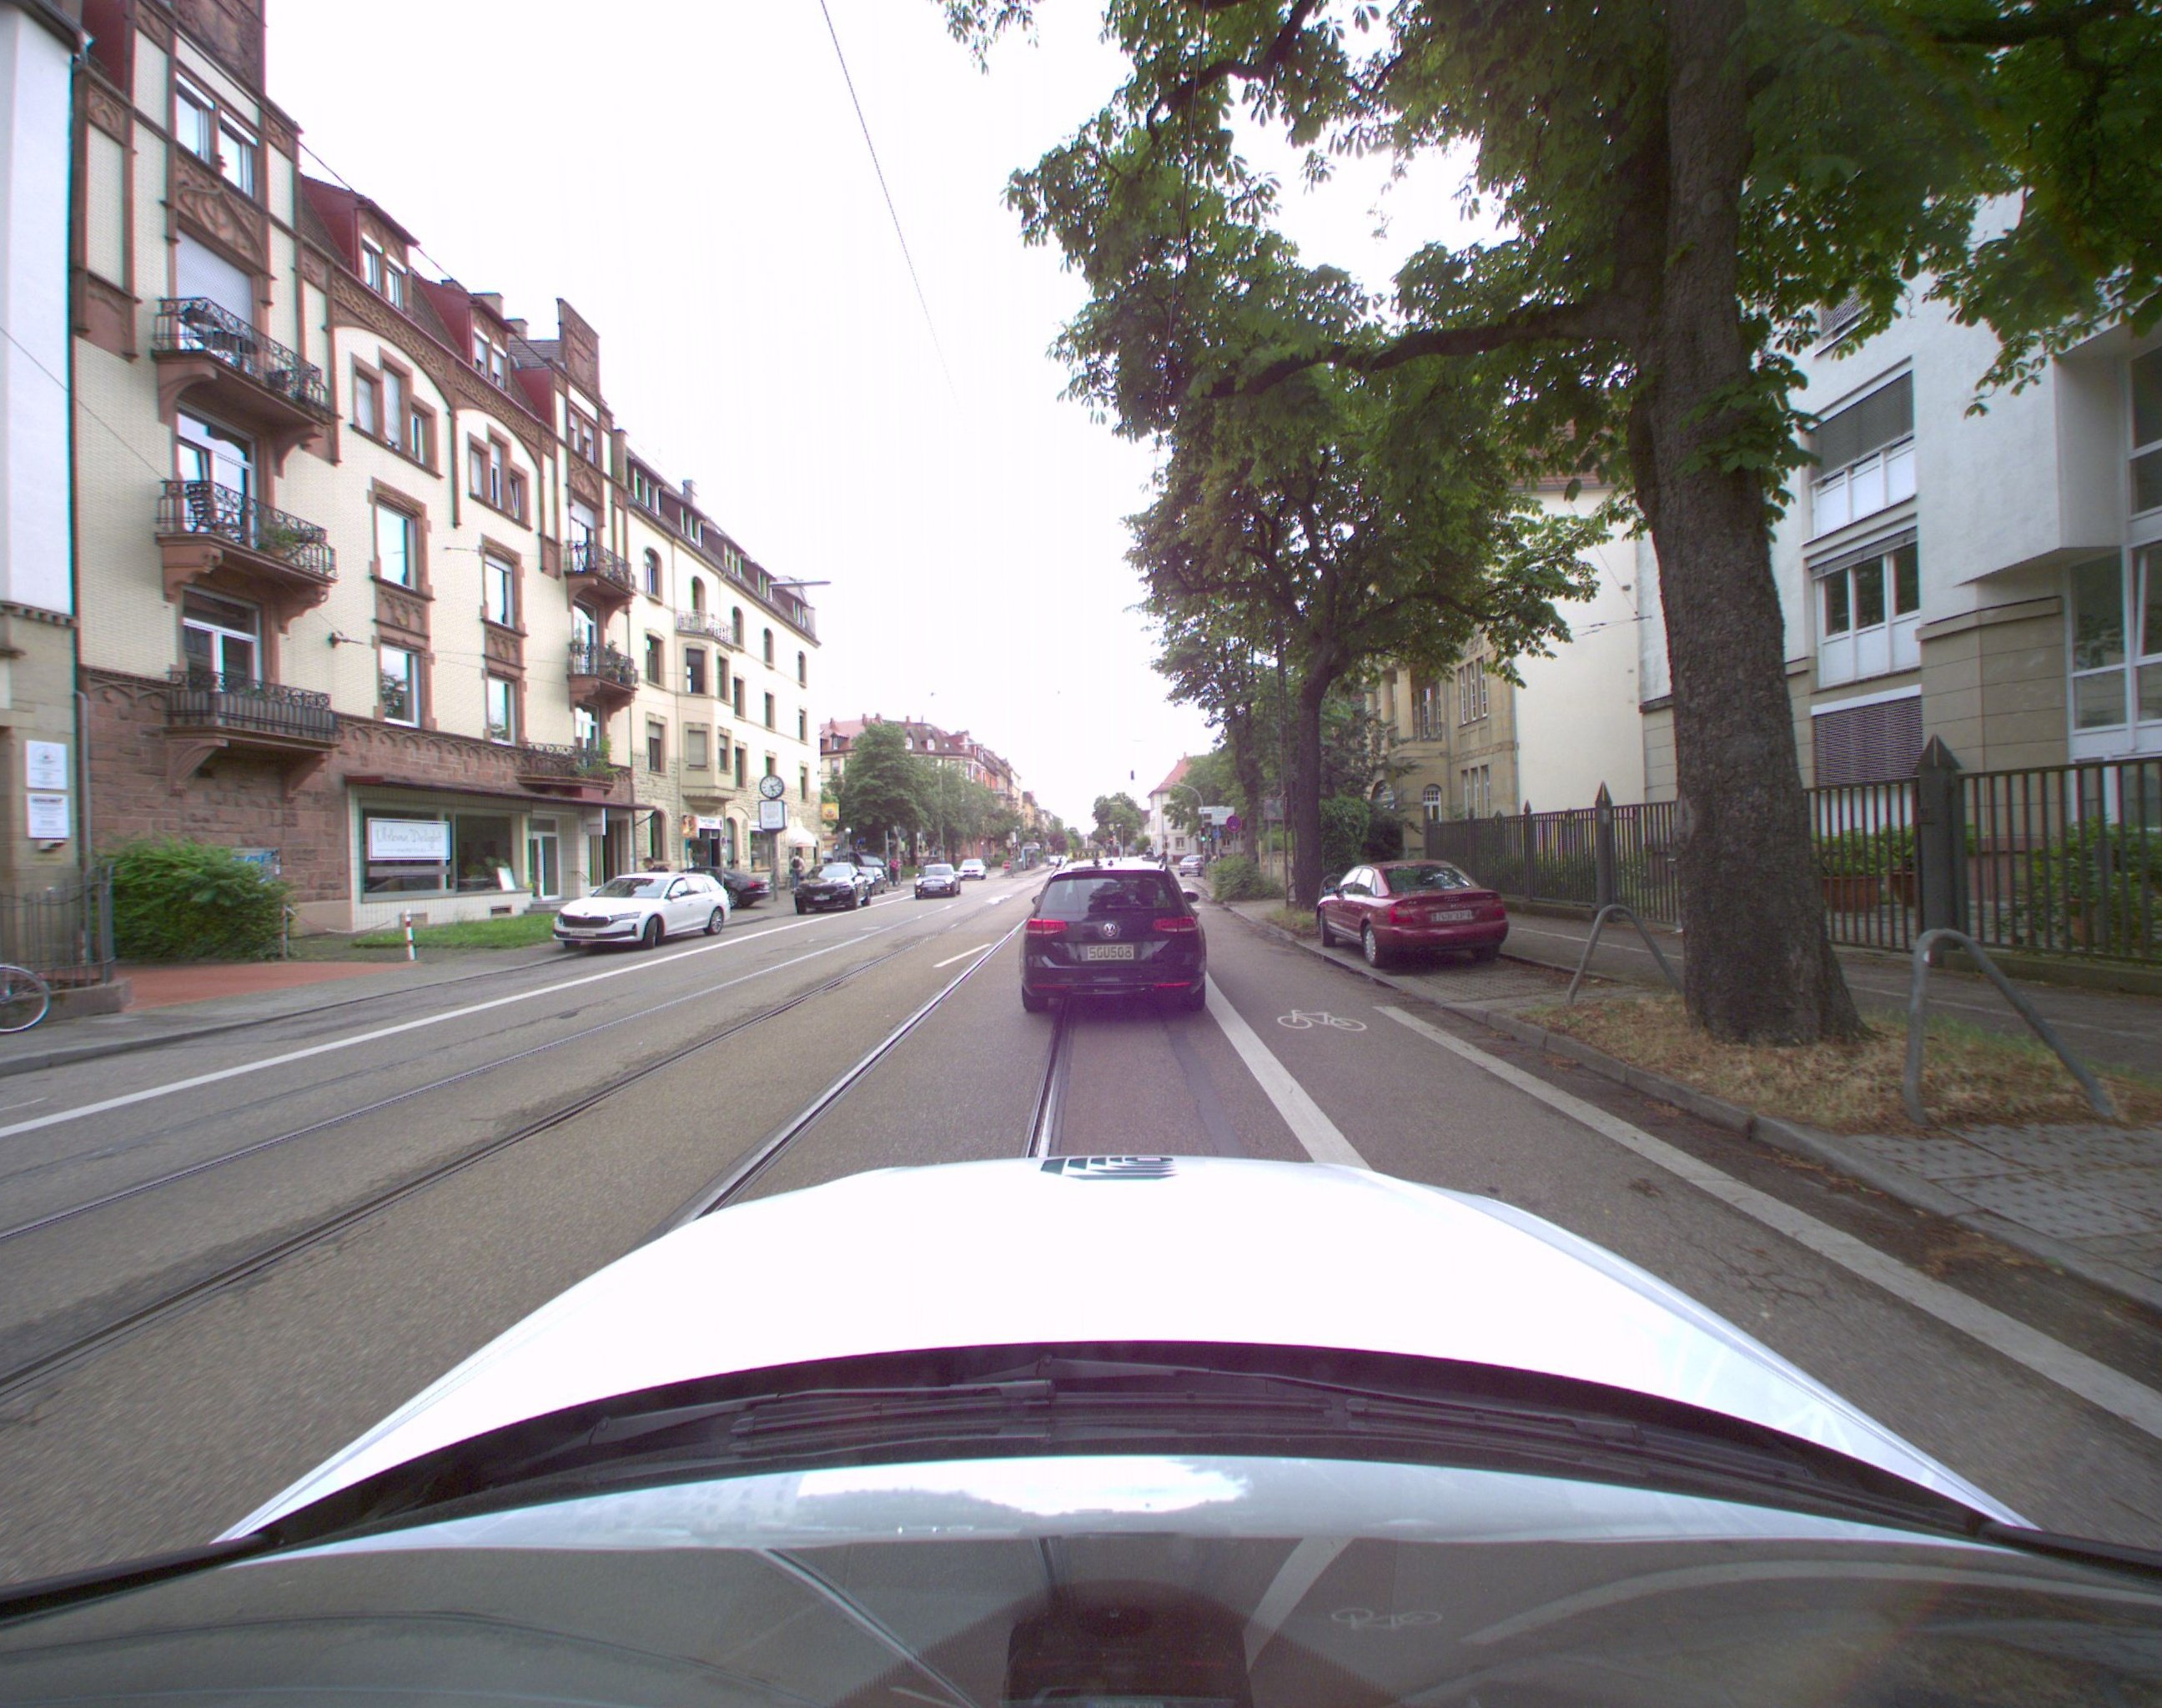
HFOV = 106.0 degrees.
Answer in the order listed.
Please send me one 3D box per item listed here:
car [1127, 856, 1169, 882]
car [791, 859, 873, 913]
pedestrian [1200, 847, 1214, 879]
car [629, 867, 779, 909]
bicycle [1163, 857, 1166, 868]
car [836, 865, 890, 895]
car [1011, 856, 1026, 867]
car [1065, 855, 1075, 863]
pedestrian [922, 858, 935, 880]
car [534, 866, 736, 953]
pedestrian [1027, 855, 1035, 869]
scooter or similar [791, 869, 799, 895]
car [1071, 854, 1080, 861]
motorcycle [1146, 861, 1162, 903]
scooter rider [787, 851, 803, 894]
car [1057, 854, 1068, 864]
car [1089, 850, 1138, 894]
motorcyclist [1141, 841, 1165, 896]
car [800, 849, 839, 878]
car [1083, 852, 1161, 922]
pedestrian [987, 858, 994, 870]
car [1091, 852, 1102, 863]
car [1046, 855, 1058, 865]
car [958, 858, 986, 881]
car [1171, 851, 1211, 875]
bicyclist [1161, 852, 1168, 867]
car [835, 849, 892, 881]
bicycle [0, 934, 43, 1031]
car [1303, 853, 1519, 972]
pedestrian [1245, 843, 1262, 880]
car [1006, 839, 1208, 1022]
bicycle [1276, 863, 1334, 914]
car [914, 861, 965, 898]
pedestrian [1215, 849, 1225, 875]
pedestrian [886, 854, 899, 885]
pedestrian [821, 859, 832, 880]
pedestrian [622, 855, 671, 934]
[{"bbox_3d":[4.036,0.852,48.413,1.879,1.408,4.014,-2,0,13],"label":"car"},{"bbox_3d":[-8.777,1.070,29.145,1.881,1.611,4.875,-4,0,-7],"label":"car"},{"bbox_3d":[7.440,0.541,48.062,0.583,1.831,0.604,-5,-1,2],"label":"pedestrian"},{"bbox_3d":[-13.333,1.196,28.998,4.416,1.370,1.878,1,0,-4],"label":"car"},{"bbox_3d":[8.863,0.896,86.360,0.295,1.223,1.434,-2,0,9],"label":"bicycle"},{"bbox_3d":[-11.103,1.303,41.735,1.644,1.361,4.128,1,0,-1],"label":"car"},{"bbox_3d":[-10.253,1.198,133.495,1.986,1.596,4.001,-2,0,1],"label":"car"},{"bbox_3d":[-2.133,0.945,161.353,1.715,1.465,3.864,-2,0,1],"label":"car"},{"bbox_3d":[-11.857,1.150,63.525,0.833,1.663,0.591,-2,0,3],"label":"pedestrian"},{"bbox_3d":[-9.316,1.073,17.532,1.741,1.484,4.609,-2,0,0],"label":"car"},{"bbox_3d":[-5.364,0.860,87.016,0.711,1.521,0.590,-2,0,3],"label":"pedestrian"},{"bbox_3d":[-13.717,1.325,39.057,0.231,1.234,0.948,-2,0,-15],"label":"scooter or similar"},{"bbox_3d":[-1.406,0.854,199.430,1.787,1.596,4.005,-2,0,4],"label":"car"},{"bbox_3d":[2.321,0.867,25.895,0.444,1.235,1.909,-2,0,5],"label":"motorcycle"},{"bbox_3d":[-13.721,0.871,39.107,0.643,2.013,0.753,-2,0,-16],"label":"scooter rider"},{"bbox_3d":[-3.197,0.883,144.467,1.715,1.622,3.864,-2,0,1],"label":"car"},{"bbox_3d":[1.215,0.659,31.128,1.717,1.546,4.001,-1,0,1],"label":"car"},{"bbox_3d":[2.285,0.455,25.982,0.699,1.692,0.805,-2,0,4],"label":"motorcyclist"},{"bbox_3d":[-23.630,0.875,73.336,2.193,2.527,5.327,-1,0,-31],"label":"car"},{"bbox_3d":[0.970,0.740,20.161,1.717,1.546,4.001,-1,0,1],"label":"car"},{"bbox_3d":[-11.265,1.248,101.273,0.582,1.521,0.653,-2,-1,37],"label":"pedestrian"},{"bbox_3d":[3.109,0.725,162.754,2.025,2.014,4.001,0,-1,1],"label":"car"},{"bbox_3d":[-4.551,0.920,129.499,1.715,1.622,3.864,-2,0,1],"label":"car"},{"bbox_3d":[-7.878,1.104,59.258,1.695,1.496,3.925,-3,0,-4],"label":"car"},{"bbox_3d":[7.599,0.644,56.015,1.977,1.577,4.019,-1,-1,18],"label":"car"},{"bbox_3d":[8.905,0.615,86.417,0.647,1.568,0.697,-2,0,8],"label":"bicyclist"},{"bbox_3d":[-17.220,0.870,64.413,2.197,2.417,5.316,-1,0,-41],"label":"car"},{"bbox_3d":[-11.030,1.311,7.750,0.331,0.938,1.515,-2,0,1],"label":"bicycle"},{"bbox_3d":[4.722,0.738,12.351,1.596,1.399,4.228,-3,0,1],"label":"car"},{"bbox_3d":[8.452,0.364,39.915,0.630,1.815,0.726,-2,0,-1],"label":"pedestrian"},{"bbox_3d":[0.276,0.663,9.017,1.717,1.546,4.001,-1,0,1],"label":"car"},{"bbox_3d":[5.529,0.832,20.037,1.915,1.198,0.428,0,-2,-44],"label":"bicycle"},{"bbox_3d":[-6.093,1.065,35.318,1.604,1.422,3.484,-3,0,-2],"label":"car"},{"bbox_3d":[10.252,0.582,60.152,0.510,1.831,0.420,-5,-1,17],"label":"pedestrian"},{"bbox_3d":[-11.642,0.953,50.246,0.621,1.842,0.609,-2,0,-1],"label":"pedestrian"},{"bbox_3d":[-21.262,1.260,67.979,0.703,1.715,0.546,-1,-1,-39],"label":"pedestrian"},{"bbox_3d":[-10.561,0.965,19.817,0.666,1.844,0.882,-2,0,0],"label":"pedestrian"}]
